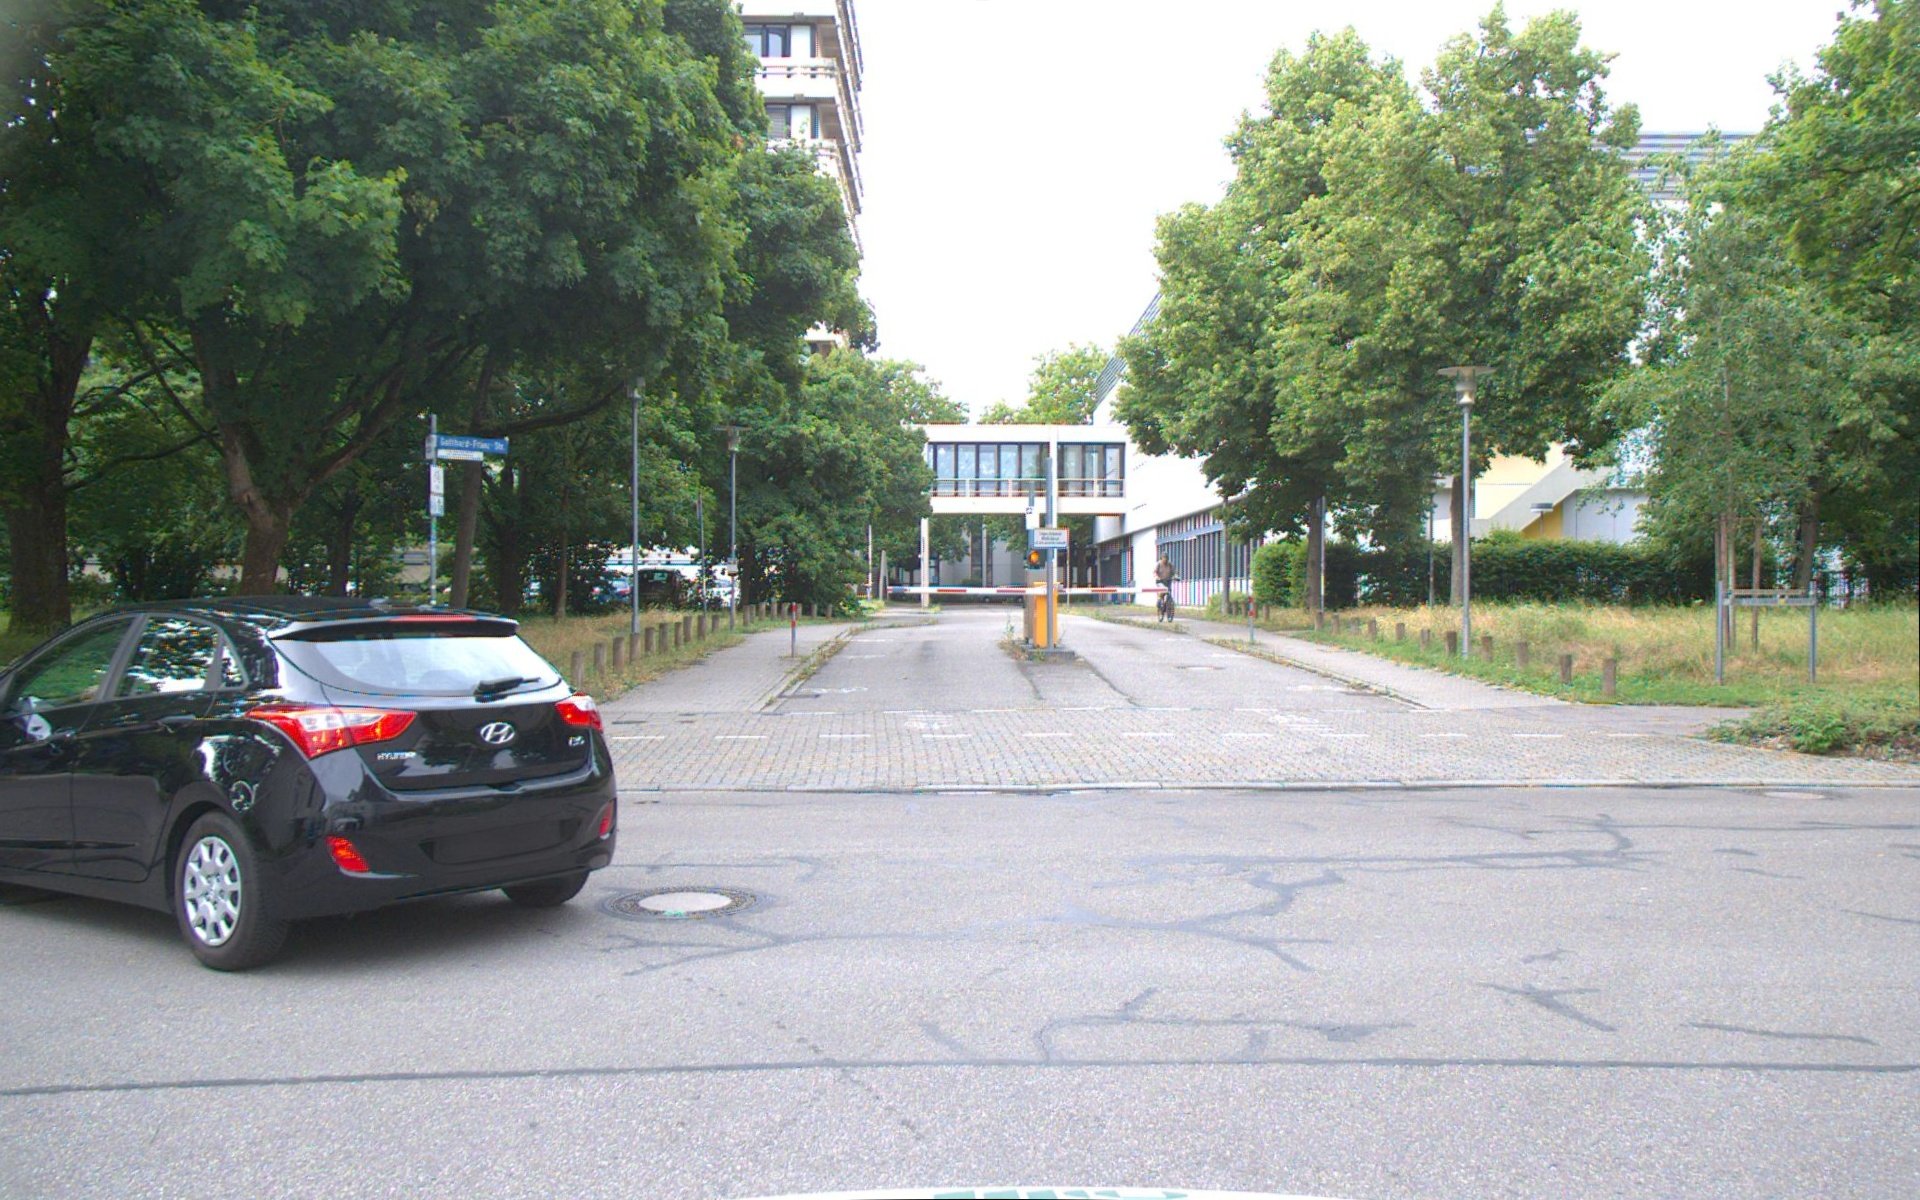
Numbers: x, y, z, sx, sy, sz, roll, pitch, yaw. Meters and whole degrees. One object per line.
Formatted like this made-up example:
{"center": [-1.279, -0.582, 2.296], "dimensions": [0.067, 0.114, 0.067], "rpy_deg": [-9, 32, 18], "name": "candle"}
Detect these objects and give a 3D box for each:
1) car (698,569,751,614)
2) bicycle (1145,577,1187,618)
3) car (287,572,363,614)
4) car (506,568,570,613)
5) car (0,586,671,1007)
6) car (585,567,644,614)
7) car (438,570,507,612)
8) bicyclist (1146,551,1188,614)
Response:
{"center": [-9.699, -0.342, 68.290], "dimensions": [1.955, 1.792, 3.995], "rpy_deg": [0, 0, -6], "name": "car"}
{"center": [5.594, -0.081, 44.962], "dimensions": [0.849, 1.093, 2.141], "rpy_deg": [0, 1, -1], "name": "bicycle"}
{"center": [-25.976, -0.287, 67.798], "dimensions": [1.880, 1.646, 3.995], "rpy_deg": [0, 0, -6], "name": "car"}
{"center": [-17.231, -0.364, 67.652], "dimensions": [1.955, 1.758, 3.995], "rpy_deg": [0, -1, -6], "name": "car"}
{"center": [-3.315, 0.688, 7.734], "dimensions": [3.753, 1.488, 1.844], "rpy_deg": [0, 0, 37], "name": "car"}
{"center": [-14.198, -0.355, 68.081], "dimensions": [1.955, 1.825, 3.995], "rpy_deg": [0, -1, -6], "name": "car"}
{"center": [-19.898, -0.369, 67.633], "dimensions": [1.955, 1.646, 3.995], "rpy_deg": [0, 0, -6], "name": "car"}
{"center": [5.608, -0.481, 44.881], "dimensions": [0.996, 1.673, 0.923], "rpy_deg": [0, 1, -1], "name": "bicyclist"}
